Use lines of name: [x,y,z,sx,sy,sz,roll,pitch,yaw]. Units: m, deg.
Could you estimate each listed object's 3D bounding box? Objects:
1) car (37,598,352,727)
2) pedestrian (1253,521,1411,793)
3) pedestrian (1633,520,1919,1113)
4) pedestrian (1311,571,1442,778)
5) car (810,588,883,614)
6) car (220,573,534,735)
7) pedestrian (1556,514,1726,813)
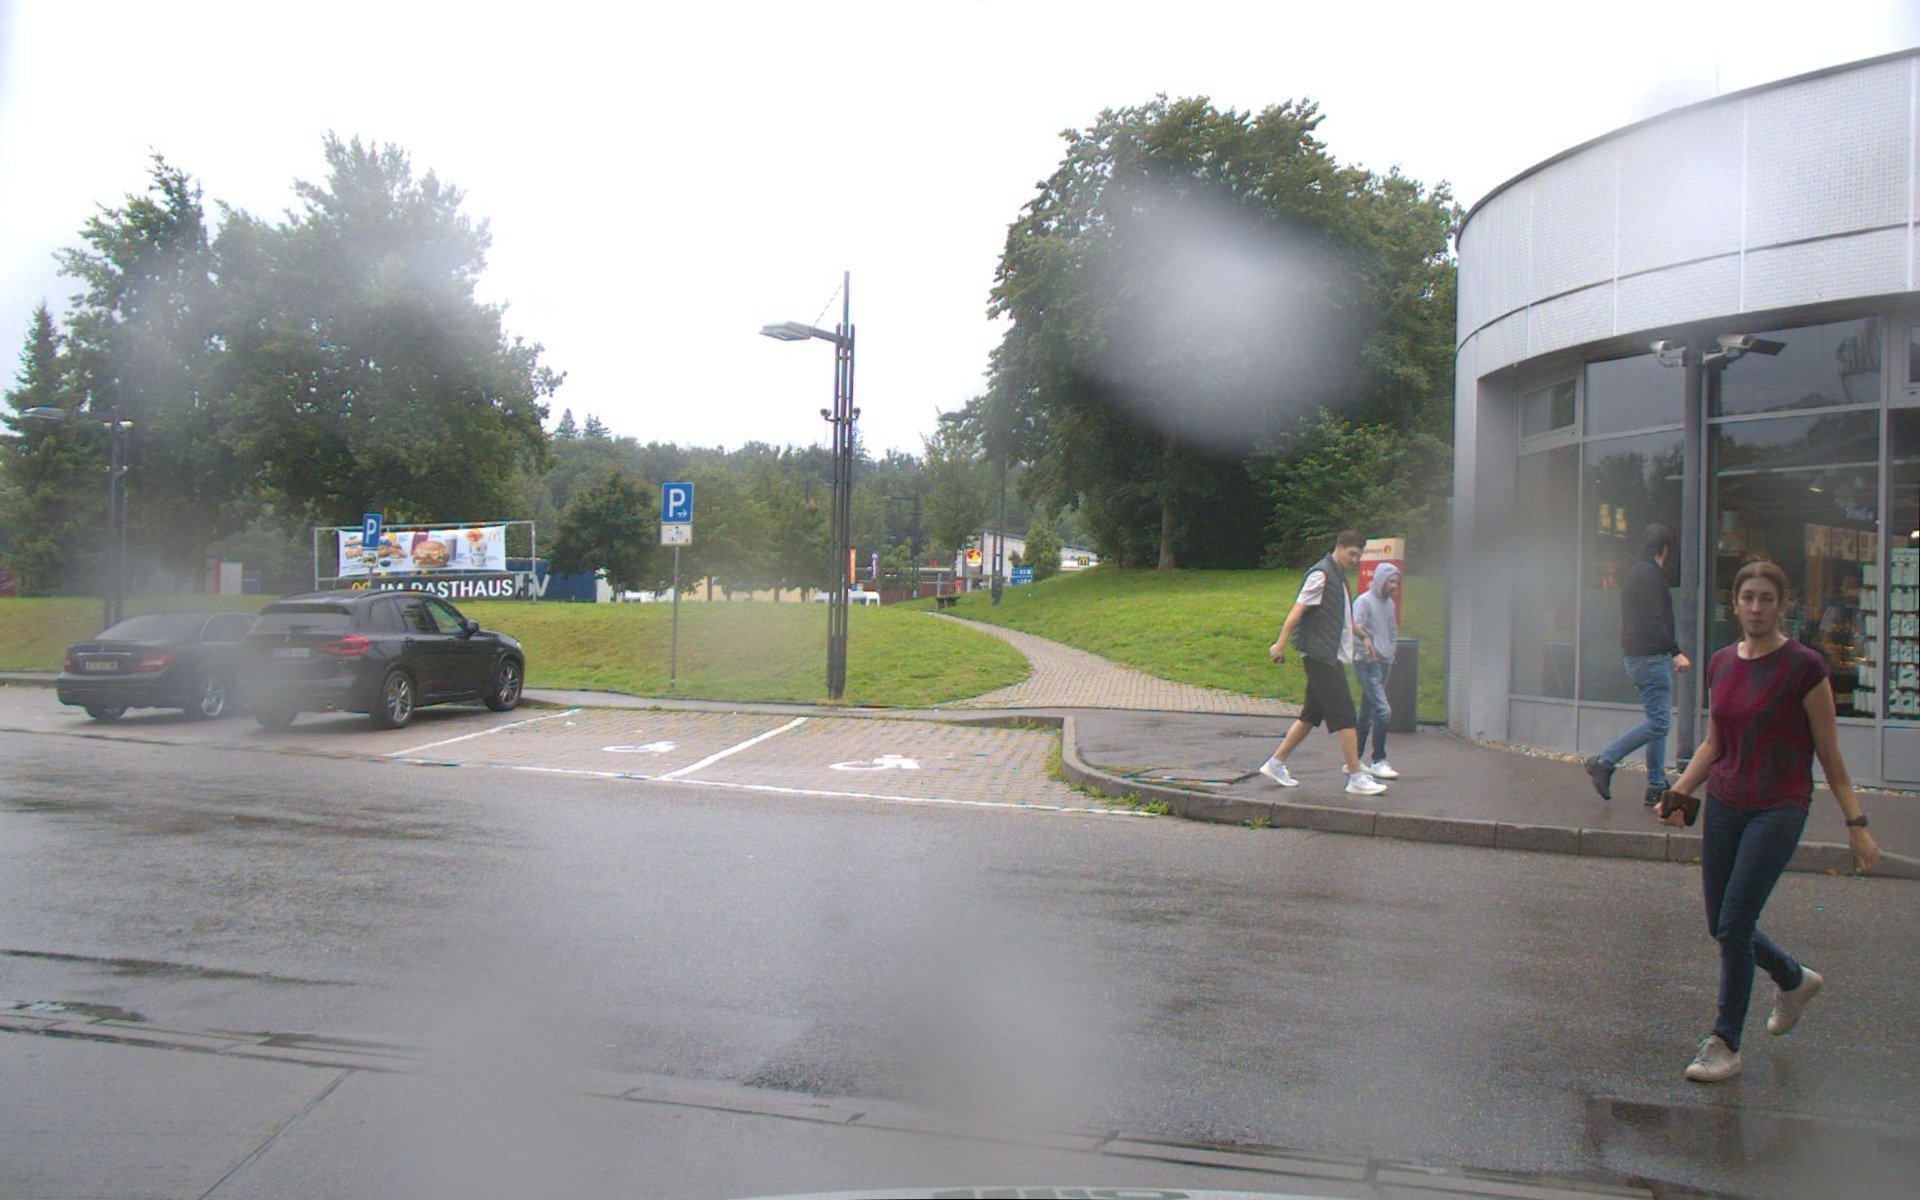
car: [-10.355,0.781,22.772,1.844,1.592,4.189,0,0,11]
pedestrian: [2.713,0.393,12.034,0.954,1.880,0.772,0,0,28]
pedestrian: [2.742,0.645,5.494,0.780,1.765,0.837,0,0,34]
pedestrian: [3.300,0.566,13.085,0.872,1.577,0.659,0,0,29]
car: [-9.154,0.065,133.642,5.310,2.049,2.456,1,0,19]
car: [-7.330,0.609,21.333,1.844,1.860,4.417,0,0,11]
pedestrian: [4.571,0.398,11.082,0.979,1.897,0.798,0,0,28]
